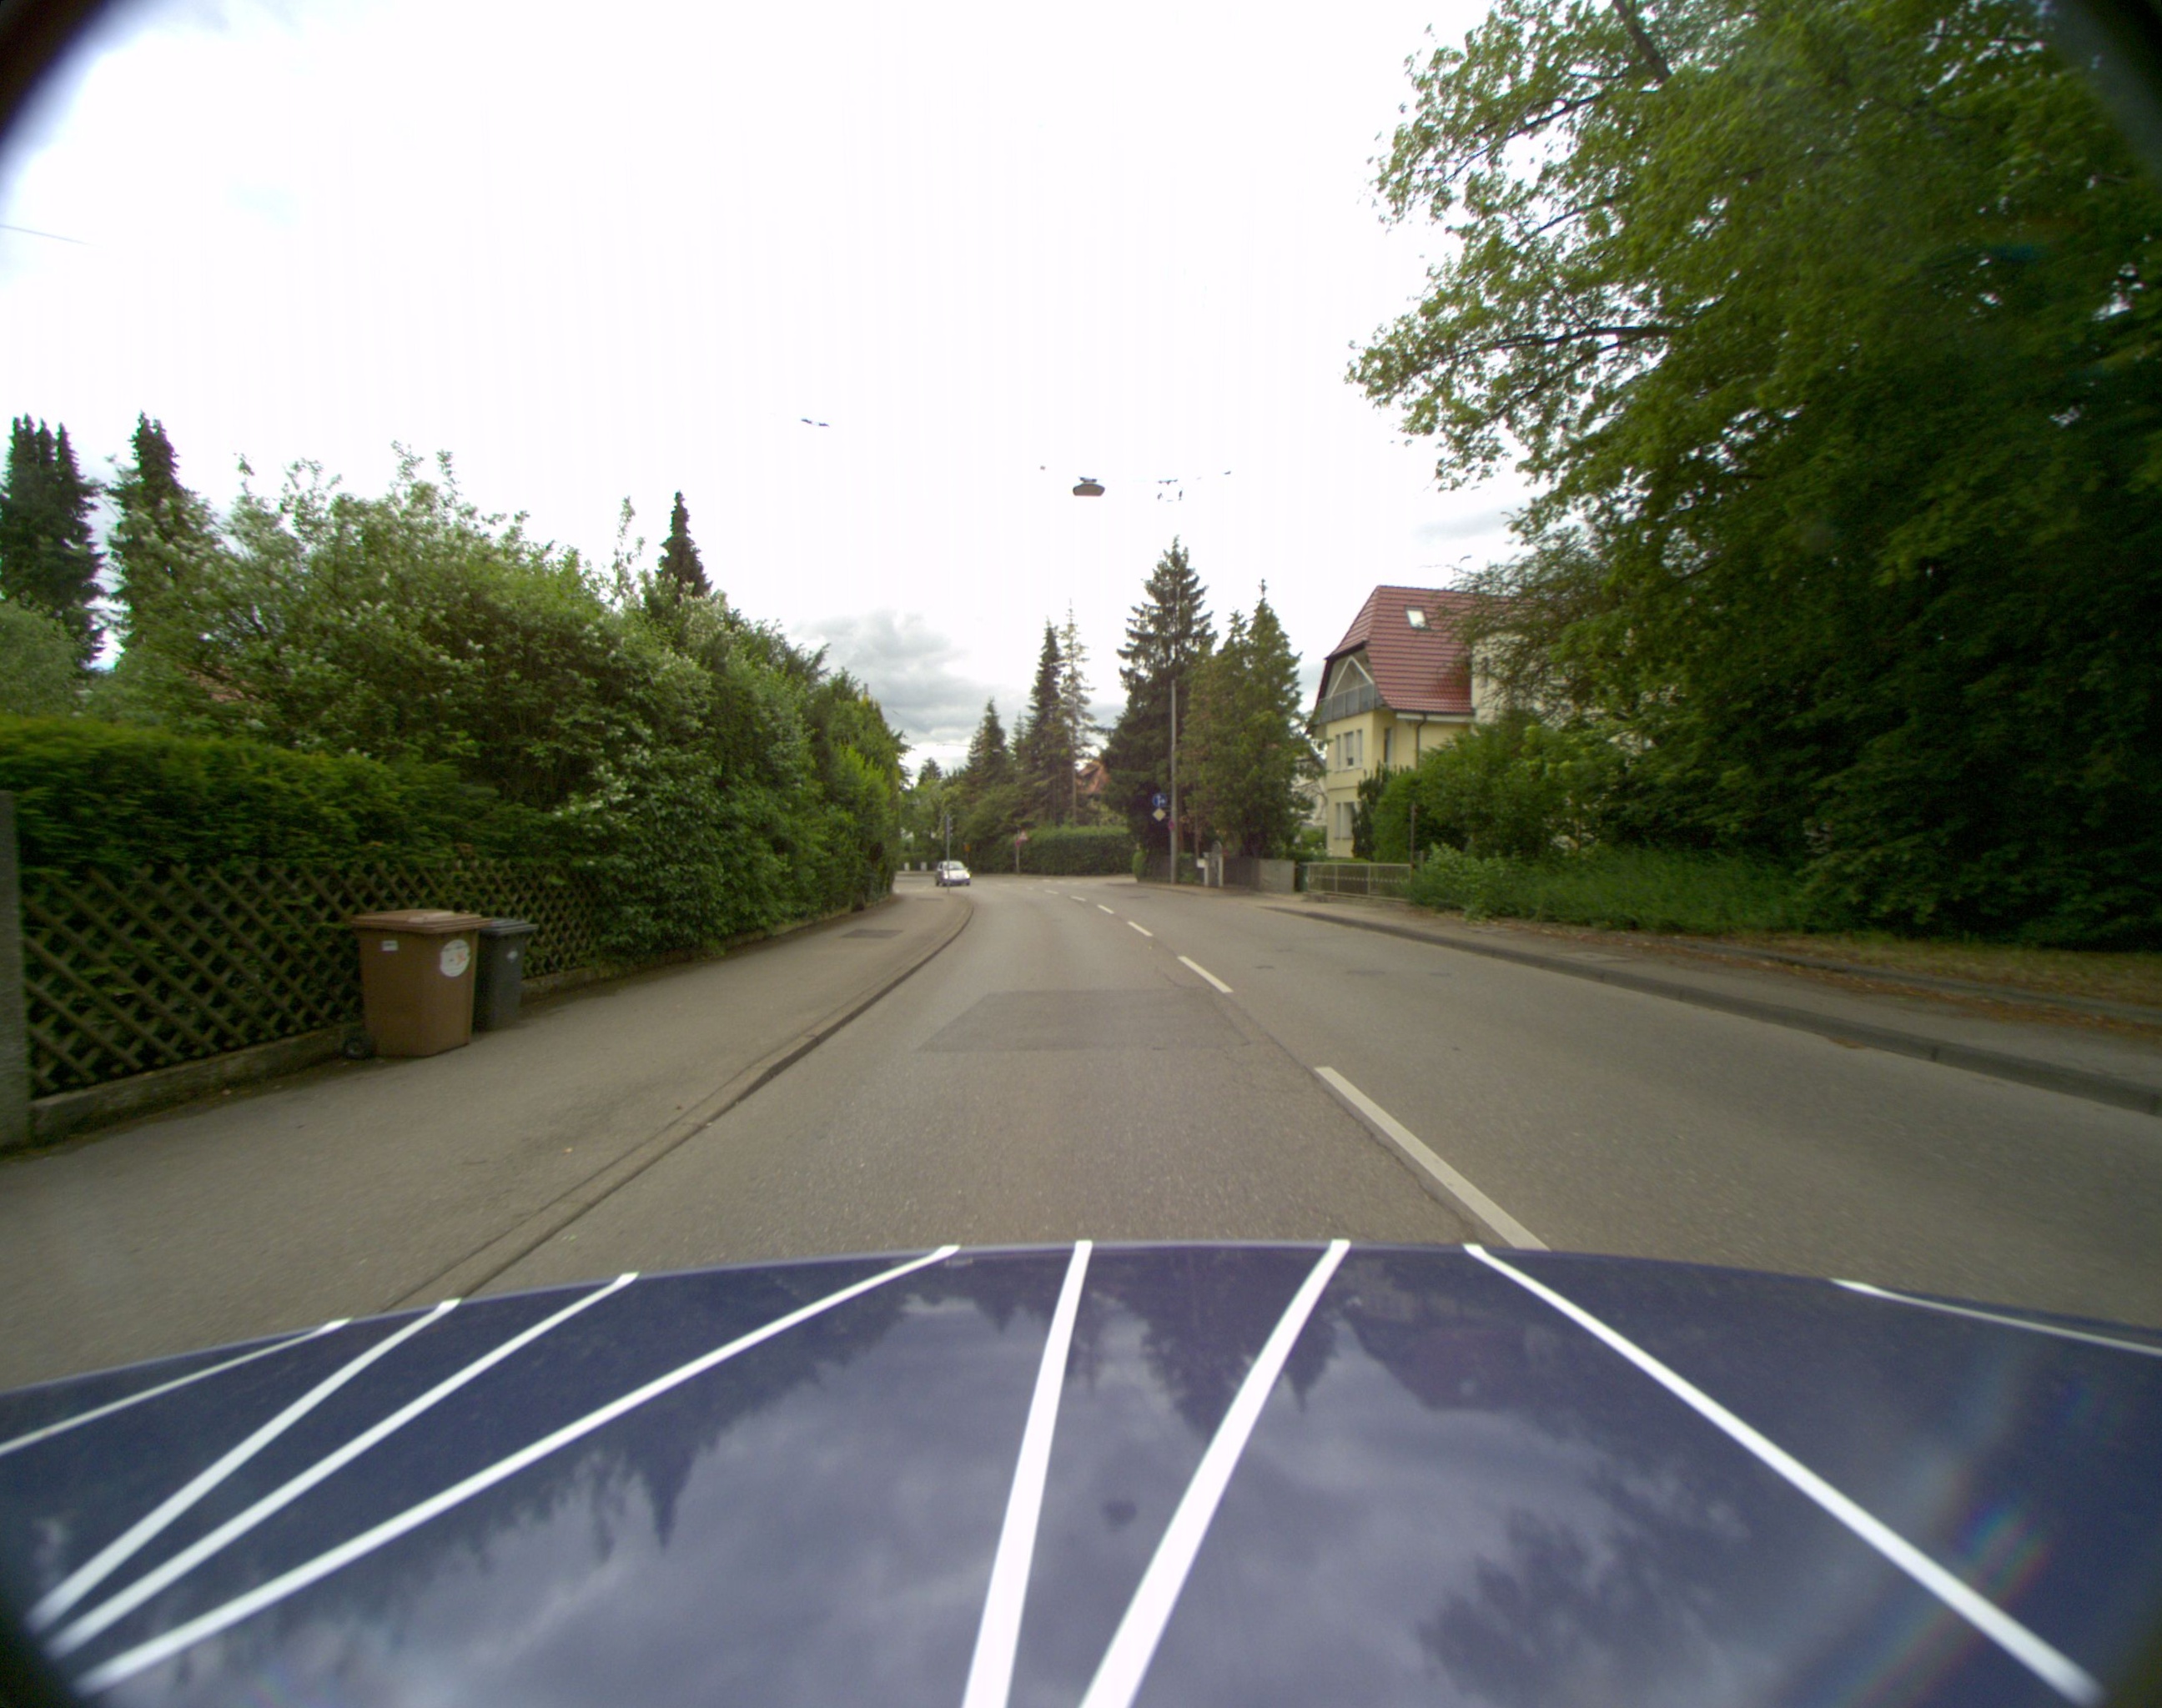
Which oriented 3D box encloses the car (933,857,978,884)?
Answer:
[{"bbox_3d":[-8.084,1.022,48.646,2.002,1.586,3.993,-1,0,-22],"label":"car"}]
